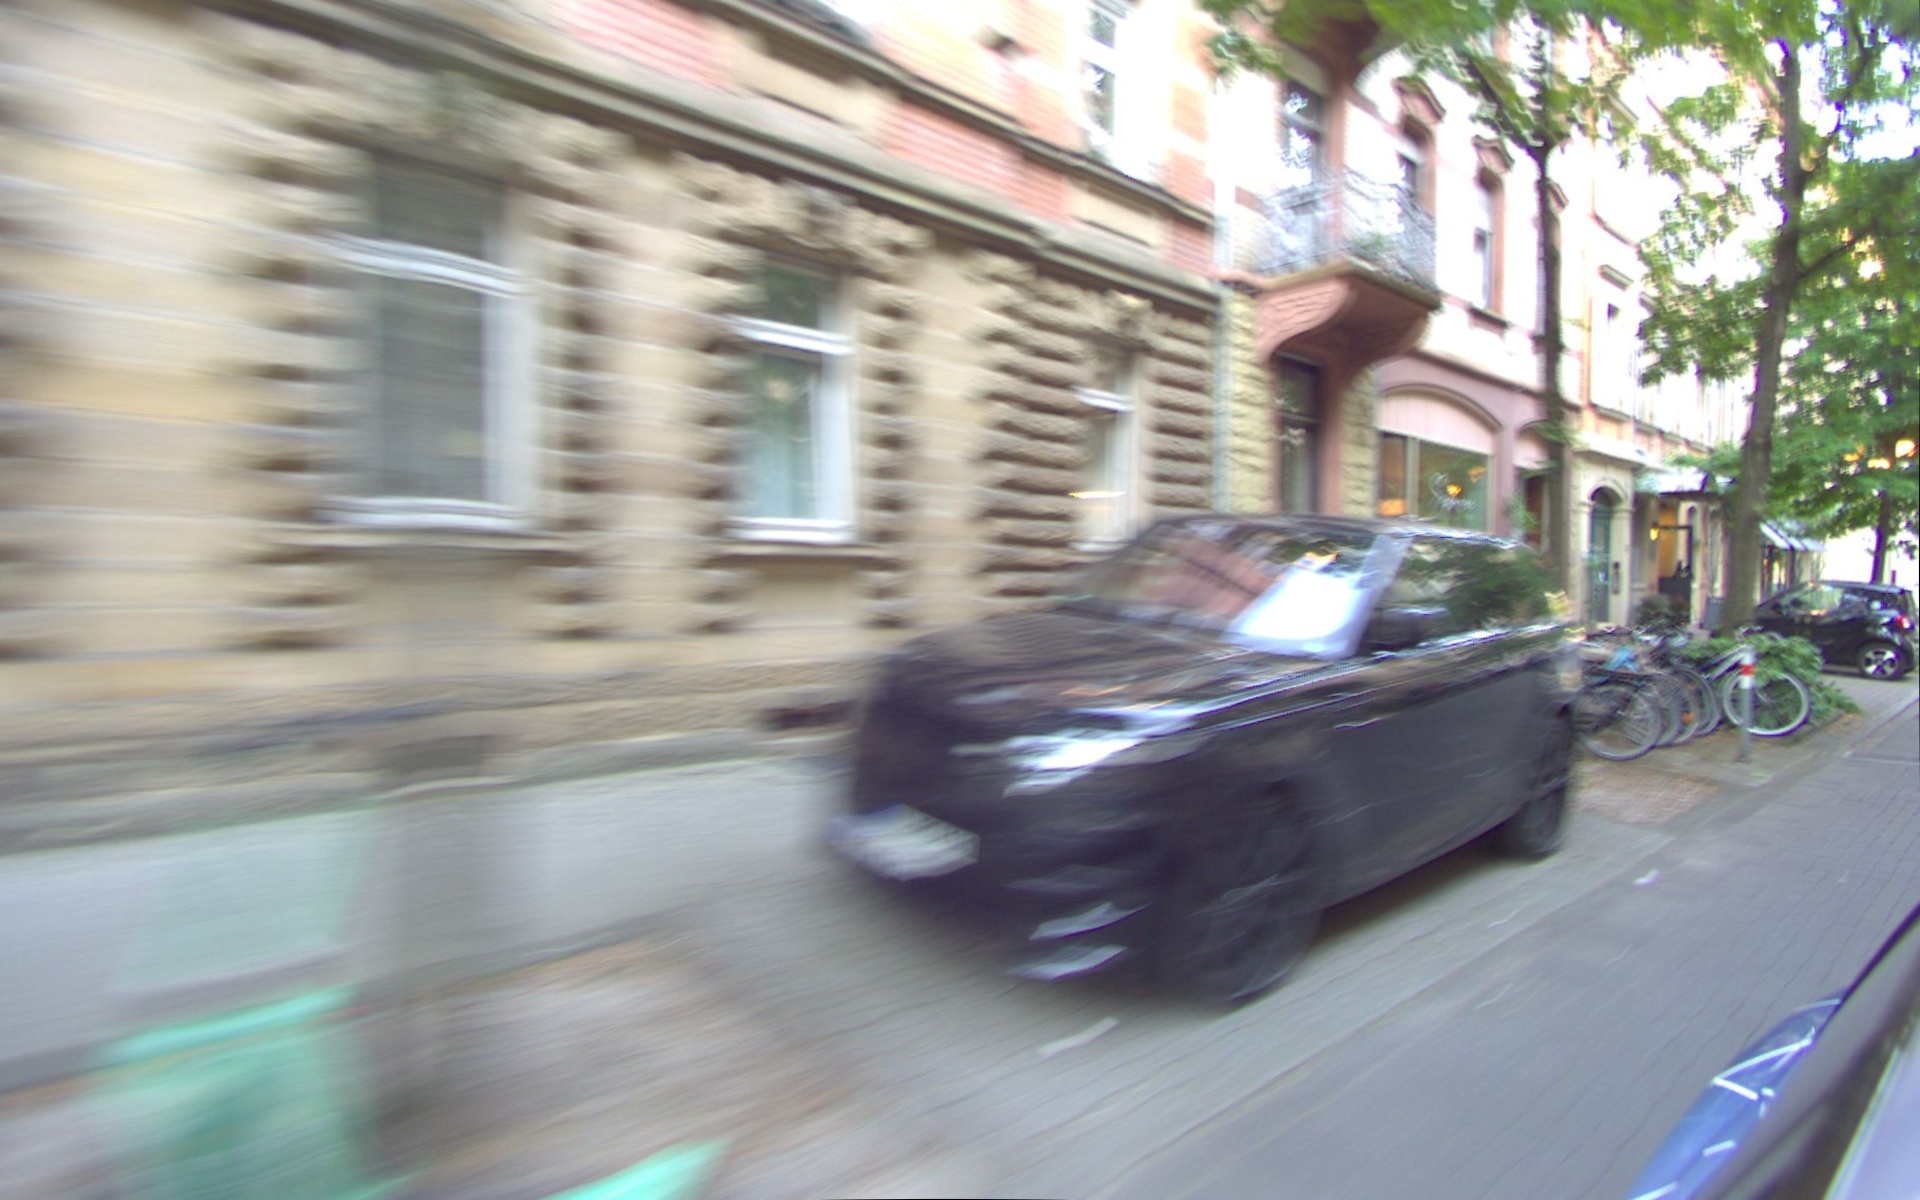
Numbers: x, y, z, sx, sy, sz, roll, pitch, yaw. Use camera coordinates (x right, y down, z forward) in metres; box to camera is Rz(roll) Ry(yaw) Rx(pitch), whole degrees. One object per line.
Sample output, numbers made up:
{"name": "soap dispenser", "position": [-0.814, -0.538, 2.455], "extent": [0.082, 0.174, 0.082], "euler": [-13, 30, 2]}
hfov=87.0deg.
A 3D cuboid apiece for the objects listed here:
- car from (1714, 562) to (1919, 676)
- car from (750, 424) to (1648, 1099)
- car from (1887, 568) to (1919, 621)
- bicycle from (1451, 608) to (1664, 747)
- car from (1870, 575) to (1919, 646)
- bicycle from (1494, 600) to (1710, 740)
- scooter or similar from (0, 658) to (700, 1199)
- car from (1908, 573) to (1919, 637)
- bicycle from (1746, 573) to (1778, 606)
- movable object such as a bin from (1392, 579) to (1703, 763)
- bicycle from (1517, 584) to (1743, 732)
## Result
{"name": "car", "position": [14.718, 0.248, 17.078], "extent": [1.769, 1.618, 2.804], "euler": [-1, 5, -40]}
{"name": "car", "position": [1.548, 0.357, 5.100], "extent": [4.728, 1.855, 2.018], "euler": [-1, 4, -42]}
{"name": "car", "position": [30.382, -0.123, 30.996], "extent": [1.499, 1.592, 2.720], "euler": [-1, 4, -41]}
{"name": "bicycle", "position": [5.691, 0.687, 9.732], "extent": [0.572, 1.158, 1.662], "euler": [0, 2, -38]}
{"name": "car", "position": [21.965, 0.195, 22.802], "extent": [4.033, 1.509, 1.736], "euler": [-1, 2, -42]}
{"name": "bicycle", "position": [6.281, 0.633, 9.987], "extent": [0.572, 1.213, 1.701], "euler": [0, 2, -38]}
{"name": "scooter or similar", "position": [-1.133, 0.763, 1.959], "extent": [1.094, 1.204, 0.676], "euler": [1, 3, -1]}
{"name": "car", "position": [25.224, 0.098, 25.605], "extent": [3.070, 1.580, 1.593], "euler": [-1, 2, -43]}
{"name": "bicycle", "position": [21.548, -0.287, 27.179], "extent": [1.522, 0.870, 0.446], "euler": [-1, 1, -43]}
{"name": "movable object such as a bin", "position": [5.151, 0.536, 9.047], "extent": [0.757, 1.320, 2.222], "euler": [-1, 5, -38]}
{"name": "bicycle", "position": [6.903, 0.535, 10.495], "extent": [0.788, 1.309, 1.765], "euler": [0, 4, -41]}
